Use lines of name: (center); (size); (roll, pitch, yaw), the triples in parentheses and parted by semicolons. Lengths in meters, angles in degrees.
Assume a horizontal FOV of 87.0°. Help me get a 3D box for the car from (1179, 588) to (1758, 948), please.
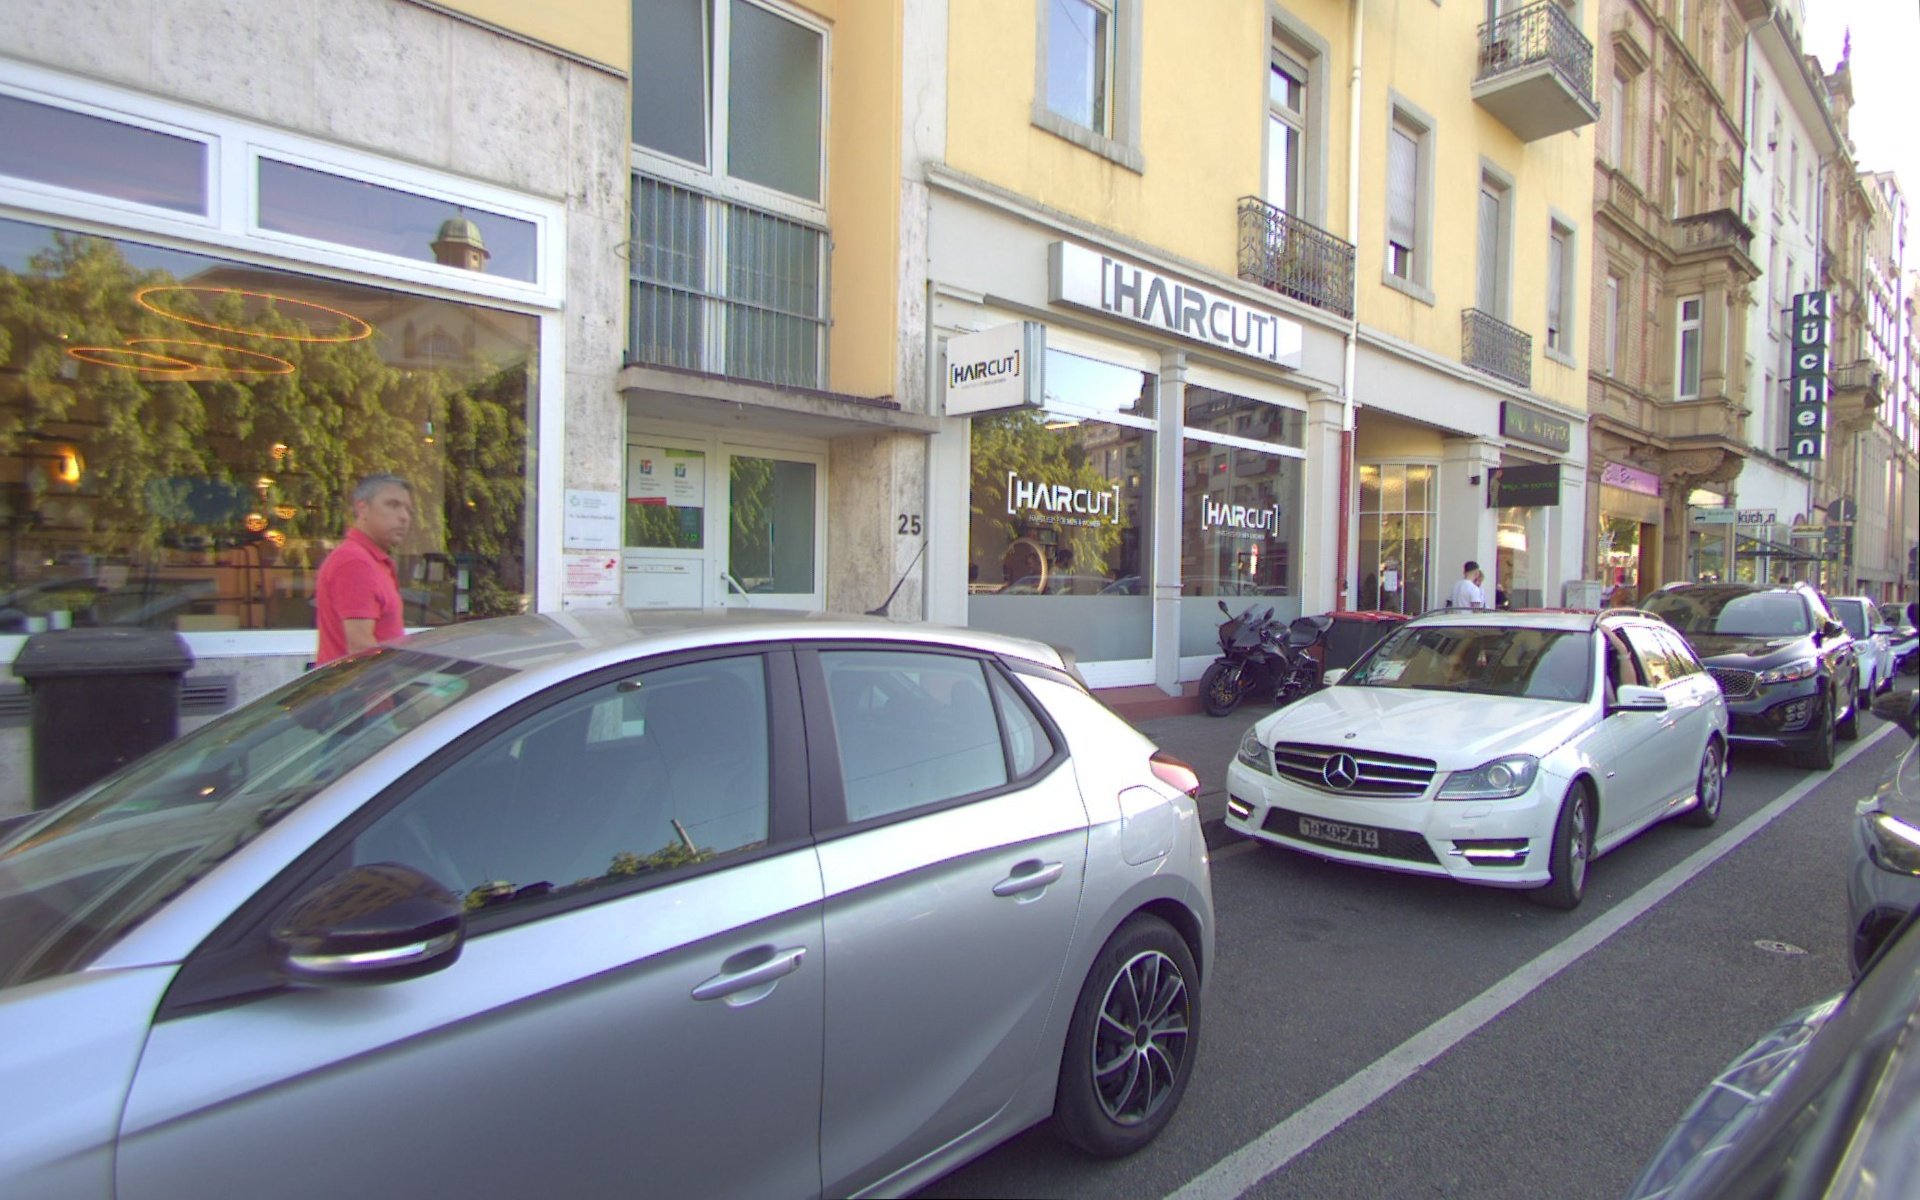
car: (3.454, 0.681, 6.387); (4.519, 1.480, 1.757); (0, 1, -42)

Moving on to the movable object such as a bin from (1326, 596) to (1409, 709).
movable object such as a bin: (4.631, 0.574, 11.503); (0.633, 1.222, 0.647); (0, 0, -40)

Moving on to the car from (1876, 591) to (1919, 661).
car: (22.249, 0.551, 23.014); (3.931, 1.504, 1.713); (0, 1, -42)

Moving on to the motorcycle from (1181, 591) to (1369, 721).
motorcycle: (3.315, 0.525, 10.529); (2.208, 1.179, 0.773); (0, 4, -41)

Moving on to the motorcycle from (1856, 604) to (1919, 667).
motorcycle: (19.282, 0.713, 20.521); (1.514, 1.248, 0.771); (1, 0, 1)

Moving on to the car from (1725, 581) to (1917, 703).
car: (12.642, 0.533, 14.822); (2.965, 1.587, 1.695); (0, 1, -40)

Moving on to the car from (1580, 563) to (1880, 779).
car: (8.013, 0.538, 10.344); (1.853, 1.719, 4.623); (1, 1, 45)

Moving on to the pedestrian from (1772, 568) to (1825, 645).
pedestrian: (18.456, 0.133, 22.272); (0.750, 1.637, 0.794); (0, 1, -43)

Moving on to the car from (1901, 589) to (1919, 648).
car: (26.395, 0.487, 26.864); (3.931, 1.504, 1.713); (0, 1, -42)

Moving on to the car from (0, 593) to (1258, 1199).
car: (-1.037, 0.702, 2.321); (3.642, 1.415, 1.652); (0, 1, -42)

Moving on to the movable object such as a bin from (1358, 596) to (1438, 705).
movable object such as a bin: (5.141, 0.568, 11.892); (0.633, 1.222, 0.647); (0, 0, -40)

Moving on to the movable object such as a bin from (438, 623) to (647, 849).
movable object such as a bin: (-2.296, 0.687, 5.567); (0.878, 1.066, 0.752); (0, 1, -40)

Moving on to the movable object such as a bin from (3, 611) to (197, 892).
movable object such as a bin: (-3.684, 0.584, 4.363); (0.591, 1.041, 0.812); (0, 1, -40)

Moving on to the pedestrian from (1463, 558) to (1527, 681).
pedestrian: (7.347, 0.258, 13.908); (0.631, 1.637, 0.572); (0, 0, -40)

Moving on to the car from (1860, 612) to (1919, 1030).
car: (5.323, 0.764, 4.279); (4.183, 1.396, 1.846); (0, 1, -42)

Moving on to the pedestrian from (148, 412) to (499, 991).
pedestrian: (-2.326, 0.298, 3.772); (0.989, 1.805, 0.868); (0, 3, -32)

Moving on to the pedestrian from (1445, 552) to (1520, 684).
pedestrian: (6.718, 0.221, 13.012); (0.689, 1.637, 0.641); (0, 0, -42)
